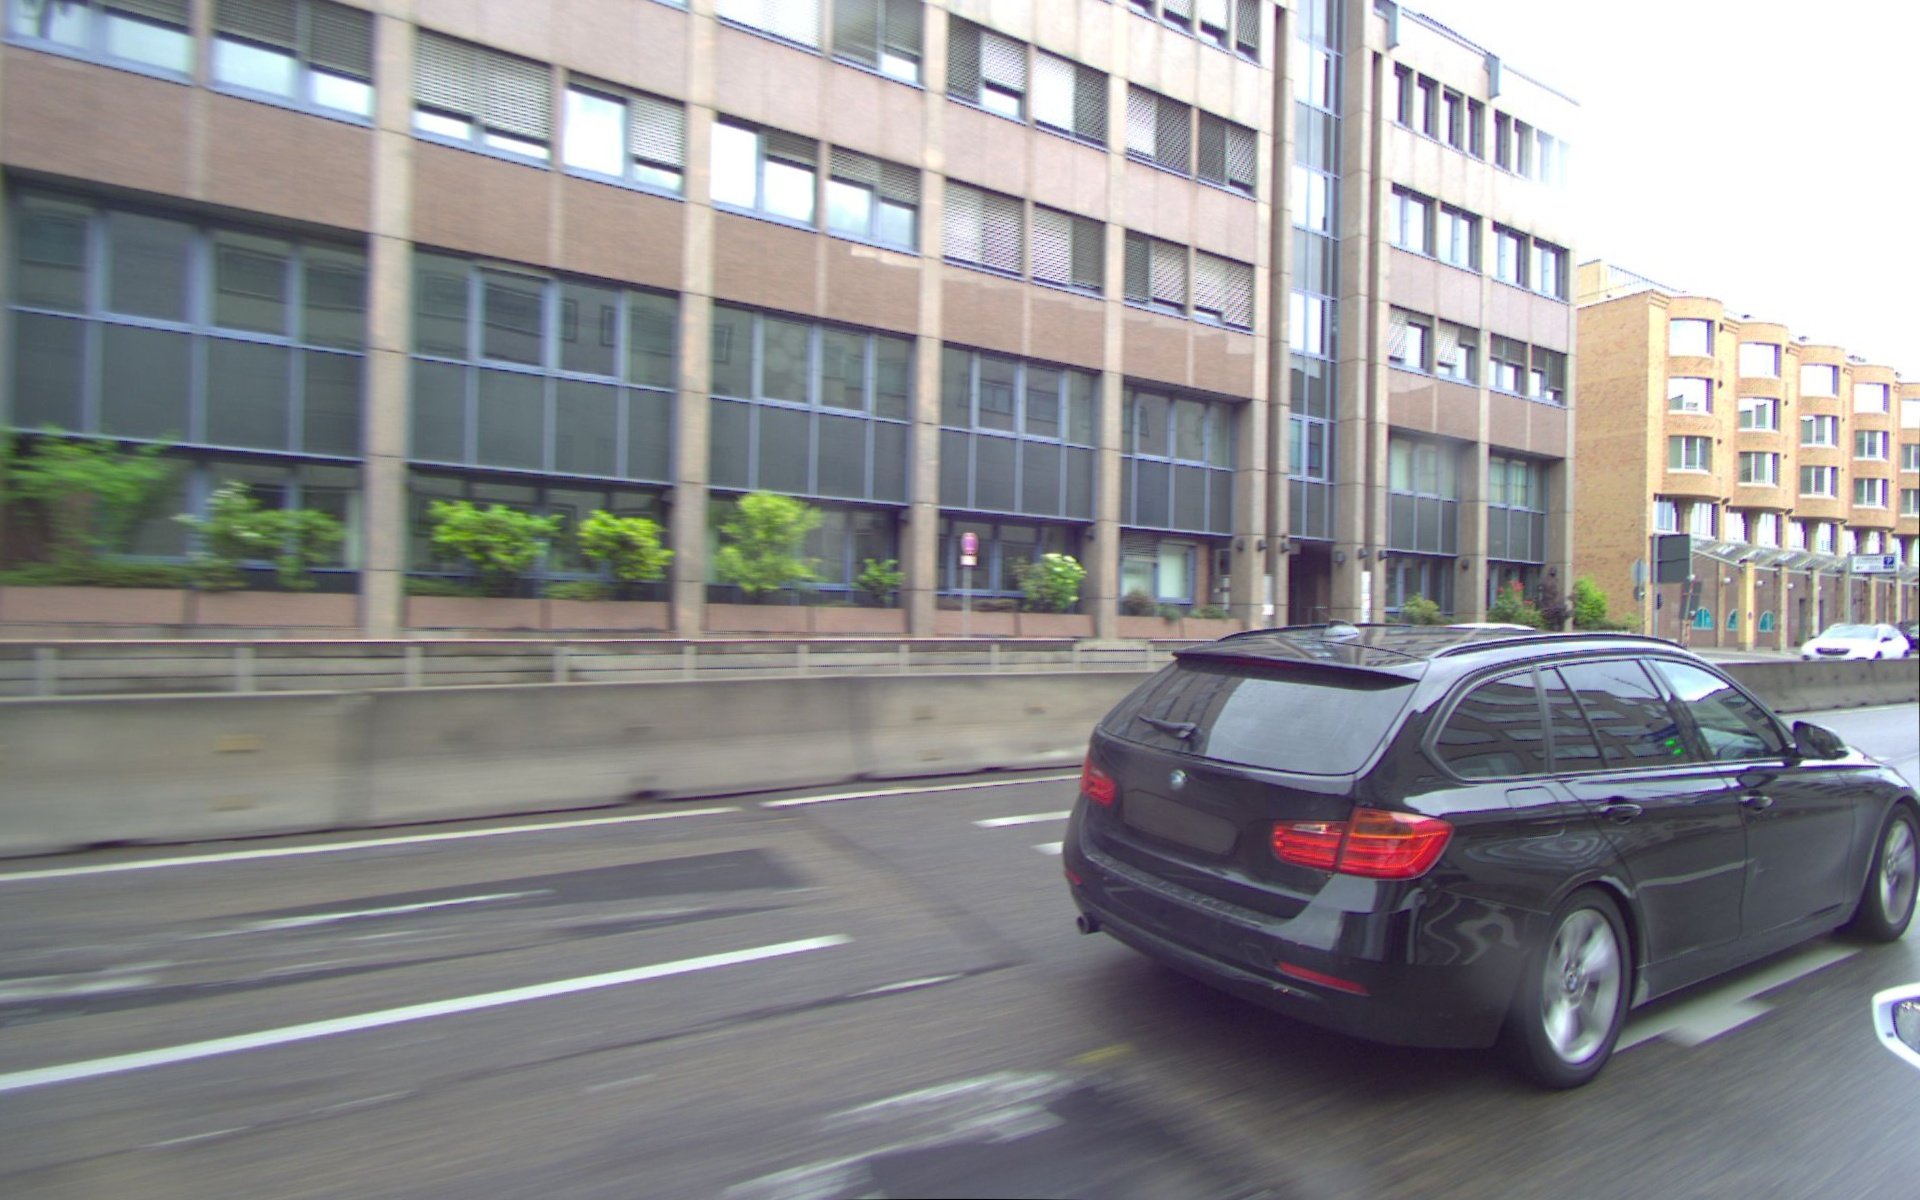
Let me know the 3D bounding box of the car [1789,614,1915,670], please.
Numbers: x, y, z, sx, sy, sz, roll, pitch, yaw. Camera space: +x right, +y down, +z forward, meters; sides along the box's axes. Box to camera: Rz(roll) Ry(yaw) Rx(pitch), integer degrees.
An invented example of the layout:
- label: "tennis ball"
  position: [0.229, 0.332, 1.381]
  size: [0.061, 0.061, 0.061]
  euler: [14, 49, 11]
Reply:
- label: "car"
  position: [28.615, 1.299, 32.203]
  size: [4.141, 1.640, 1.812]
  euler: [-1, -1, -30]

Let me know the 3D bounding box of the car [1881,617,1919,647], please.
- label: "car"
  position: [55.877, 1.869, 58.531]
  size: [4.707, 1.641, 1.984]
  euler: [1, -2, -30]

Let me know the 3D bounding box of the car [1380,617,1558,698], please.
- label: "car"
  position: [10.491, 1.123, 20.666]
  size: [3.615, 1.462, 1.594]
  euler: [-1, -1, -31]

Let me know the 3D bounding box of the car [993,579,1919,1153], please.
- label: "car"
  position: [2.542, 0.715, 4.482]
  size: [4.560, 1.445, 1.782]
  euler: [1, 0, -31]
